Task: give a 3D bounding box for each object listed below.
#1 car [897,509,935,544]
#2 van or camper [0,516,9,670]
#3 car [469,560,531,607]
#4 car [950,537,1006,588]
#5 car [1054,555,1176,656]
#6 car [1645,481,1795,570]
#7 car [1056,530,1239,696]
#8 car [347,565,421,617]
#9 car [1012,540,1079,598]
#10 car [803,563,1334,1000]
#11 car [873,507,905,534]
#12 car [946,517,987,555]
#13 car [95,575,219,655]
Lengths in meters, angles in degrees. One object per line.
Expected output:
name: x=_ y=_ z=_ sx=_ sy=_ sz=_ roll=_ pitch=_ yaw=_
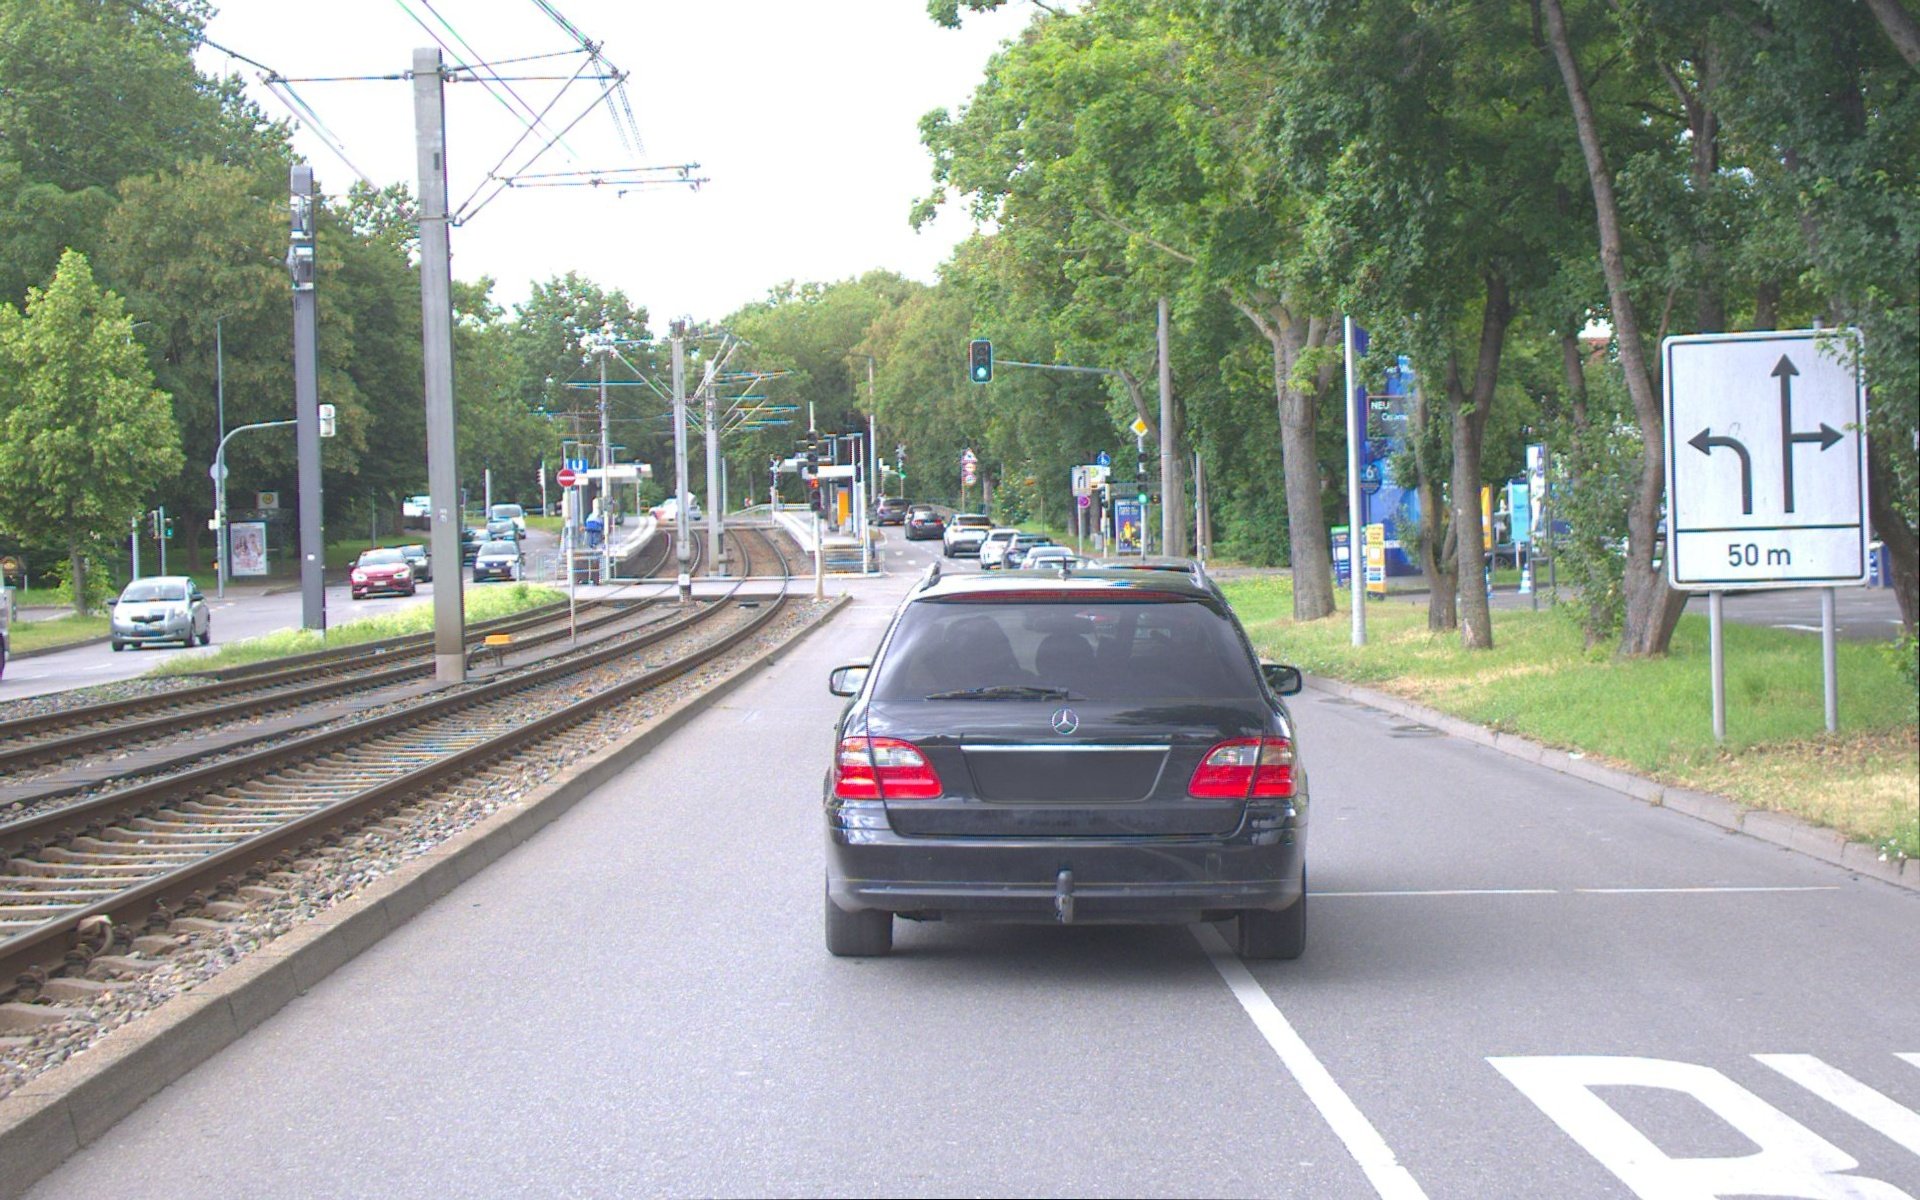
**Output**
car: x=-2.346 y=-3.900 z=183.235 sx=1.993 sy=1.831 sz=4.000 roll=0 pitch=1 yaw=-1
van or camper: x=-15.448 y=-0.050 z=50.293 sx=1.993 sy=2.346 sz=5.767 roll=-2 pitch=1 yaw=-6
car: x=-16.720 y=-0.608 z=125.032 sx=1.765 sy=1.641 sz=3.771 roll=0 pitch=1 yaw=-1
car: x=0.639 y=-1.381 z=126.424 sx=1.993 sy=1.831 sz=4.000 roll=0 pitch=1 yaw=-1
car: x=2.240 y=0.063 z=50.295 sx=1.571 sy=1.410 sz=3.354 roll=1 pitch=0 yaw=-1
car: x=15.148 y=-1.494 z=68.318 sx=2.008 sy=1.677 sz=4.574 roll=-1 pitch=1 yaw=24
car: x=2.054 y=0.129 z=38.524 sx=1.780 sy=1.744 sz=3.718 roll=1 pitch=0 yaw=-1
car: x=-18.534 y=-0.290 z=110.696 sx=1.765 sy=1.641 sz=3.771 roll=0 pitch=1 yaw=-1
car: x=2.723 y=-0.999 z=110.467 sx=1.993 sy=1.831 sz=4.000 roll=0 pitch=1 yaw=-1
car: x=0.351 y=0.598 z=13.658 sx=1.808 sy=1.469 sz=3.881 roll=0 pitch=1 yaw=-1
car: x=-4.088 y=-4.581 z=198.322 sx=1.666 sy=1.527 sz=3.771 roll=0 pitch=1 yaw=-4
car: x=0.261 y=-2.656 z=143.771 sx=1.649 sy=1.549 sz=3.648 roll=0 pitch=1 yaw=-1
car: x=-17.023 y=0.297 z=73.028 sx=1.765 sy=1.641 sz=3.771 roll=0 pitch=1 yaw=-1
